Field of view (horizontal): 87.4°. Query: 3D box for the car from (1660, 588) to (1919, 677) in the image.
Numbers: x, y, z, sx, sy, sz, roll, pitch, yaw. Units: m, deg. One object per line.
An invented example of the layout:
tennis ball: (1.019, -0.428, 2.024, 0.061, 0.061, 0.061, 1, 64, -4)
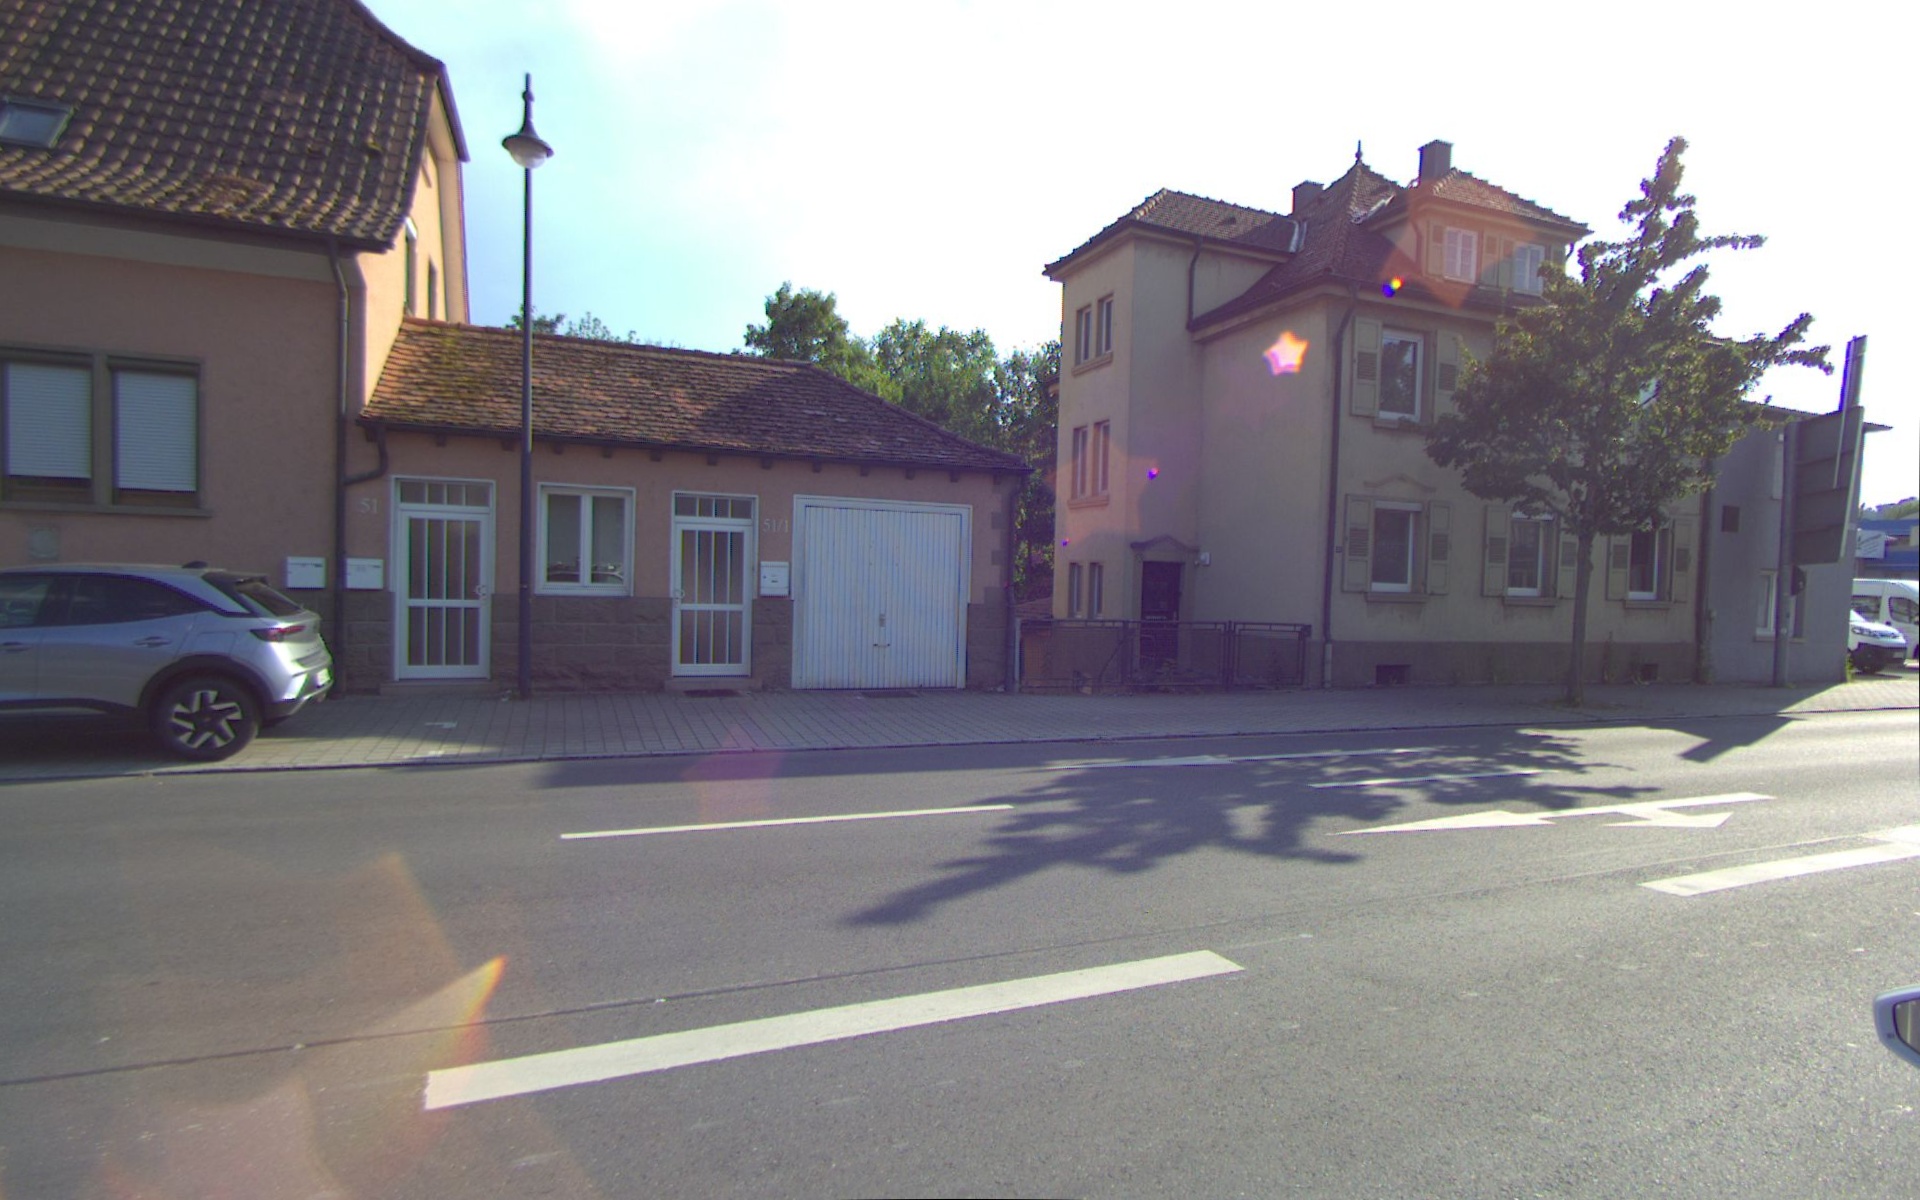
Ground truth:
car: (21.924, 0.774, 26.828, 1.909, 2.026, 4.960, 1, 2, -25)

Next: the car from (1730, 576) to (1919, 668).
car: (26.916, 0.580, 29.991, 2.163, 2.513, 5.904, 0, 2, -24)

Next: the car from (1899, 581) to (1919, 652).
car: (35.937, 0.685, 33.631, 2.221, 2.477, 6.133, 1, 2, -28)

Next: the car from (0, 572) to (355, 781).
car: (-7.498, 0.567, 8.384, 3.942, 1.499, 1.752, 1, 4, -22)
